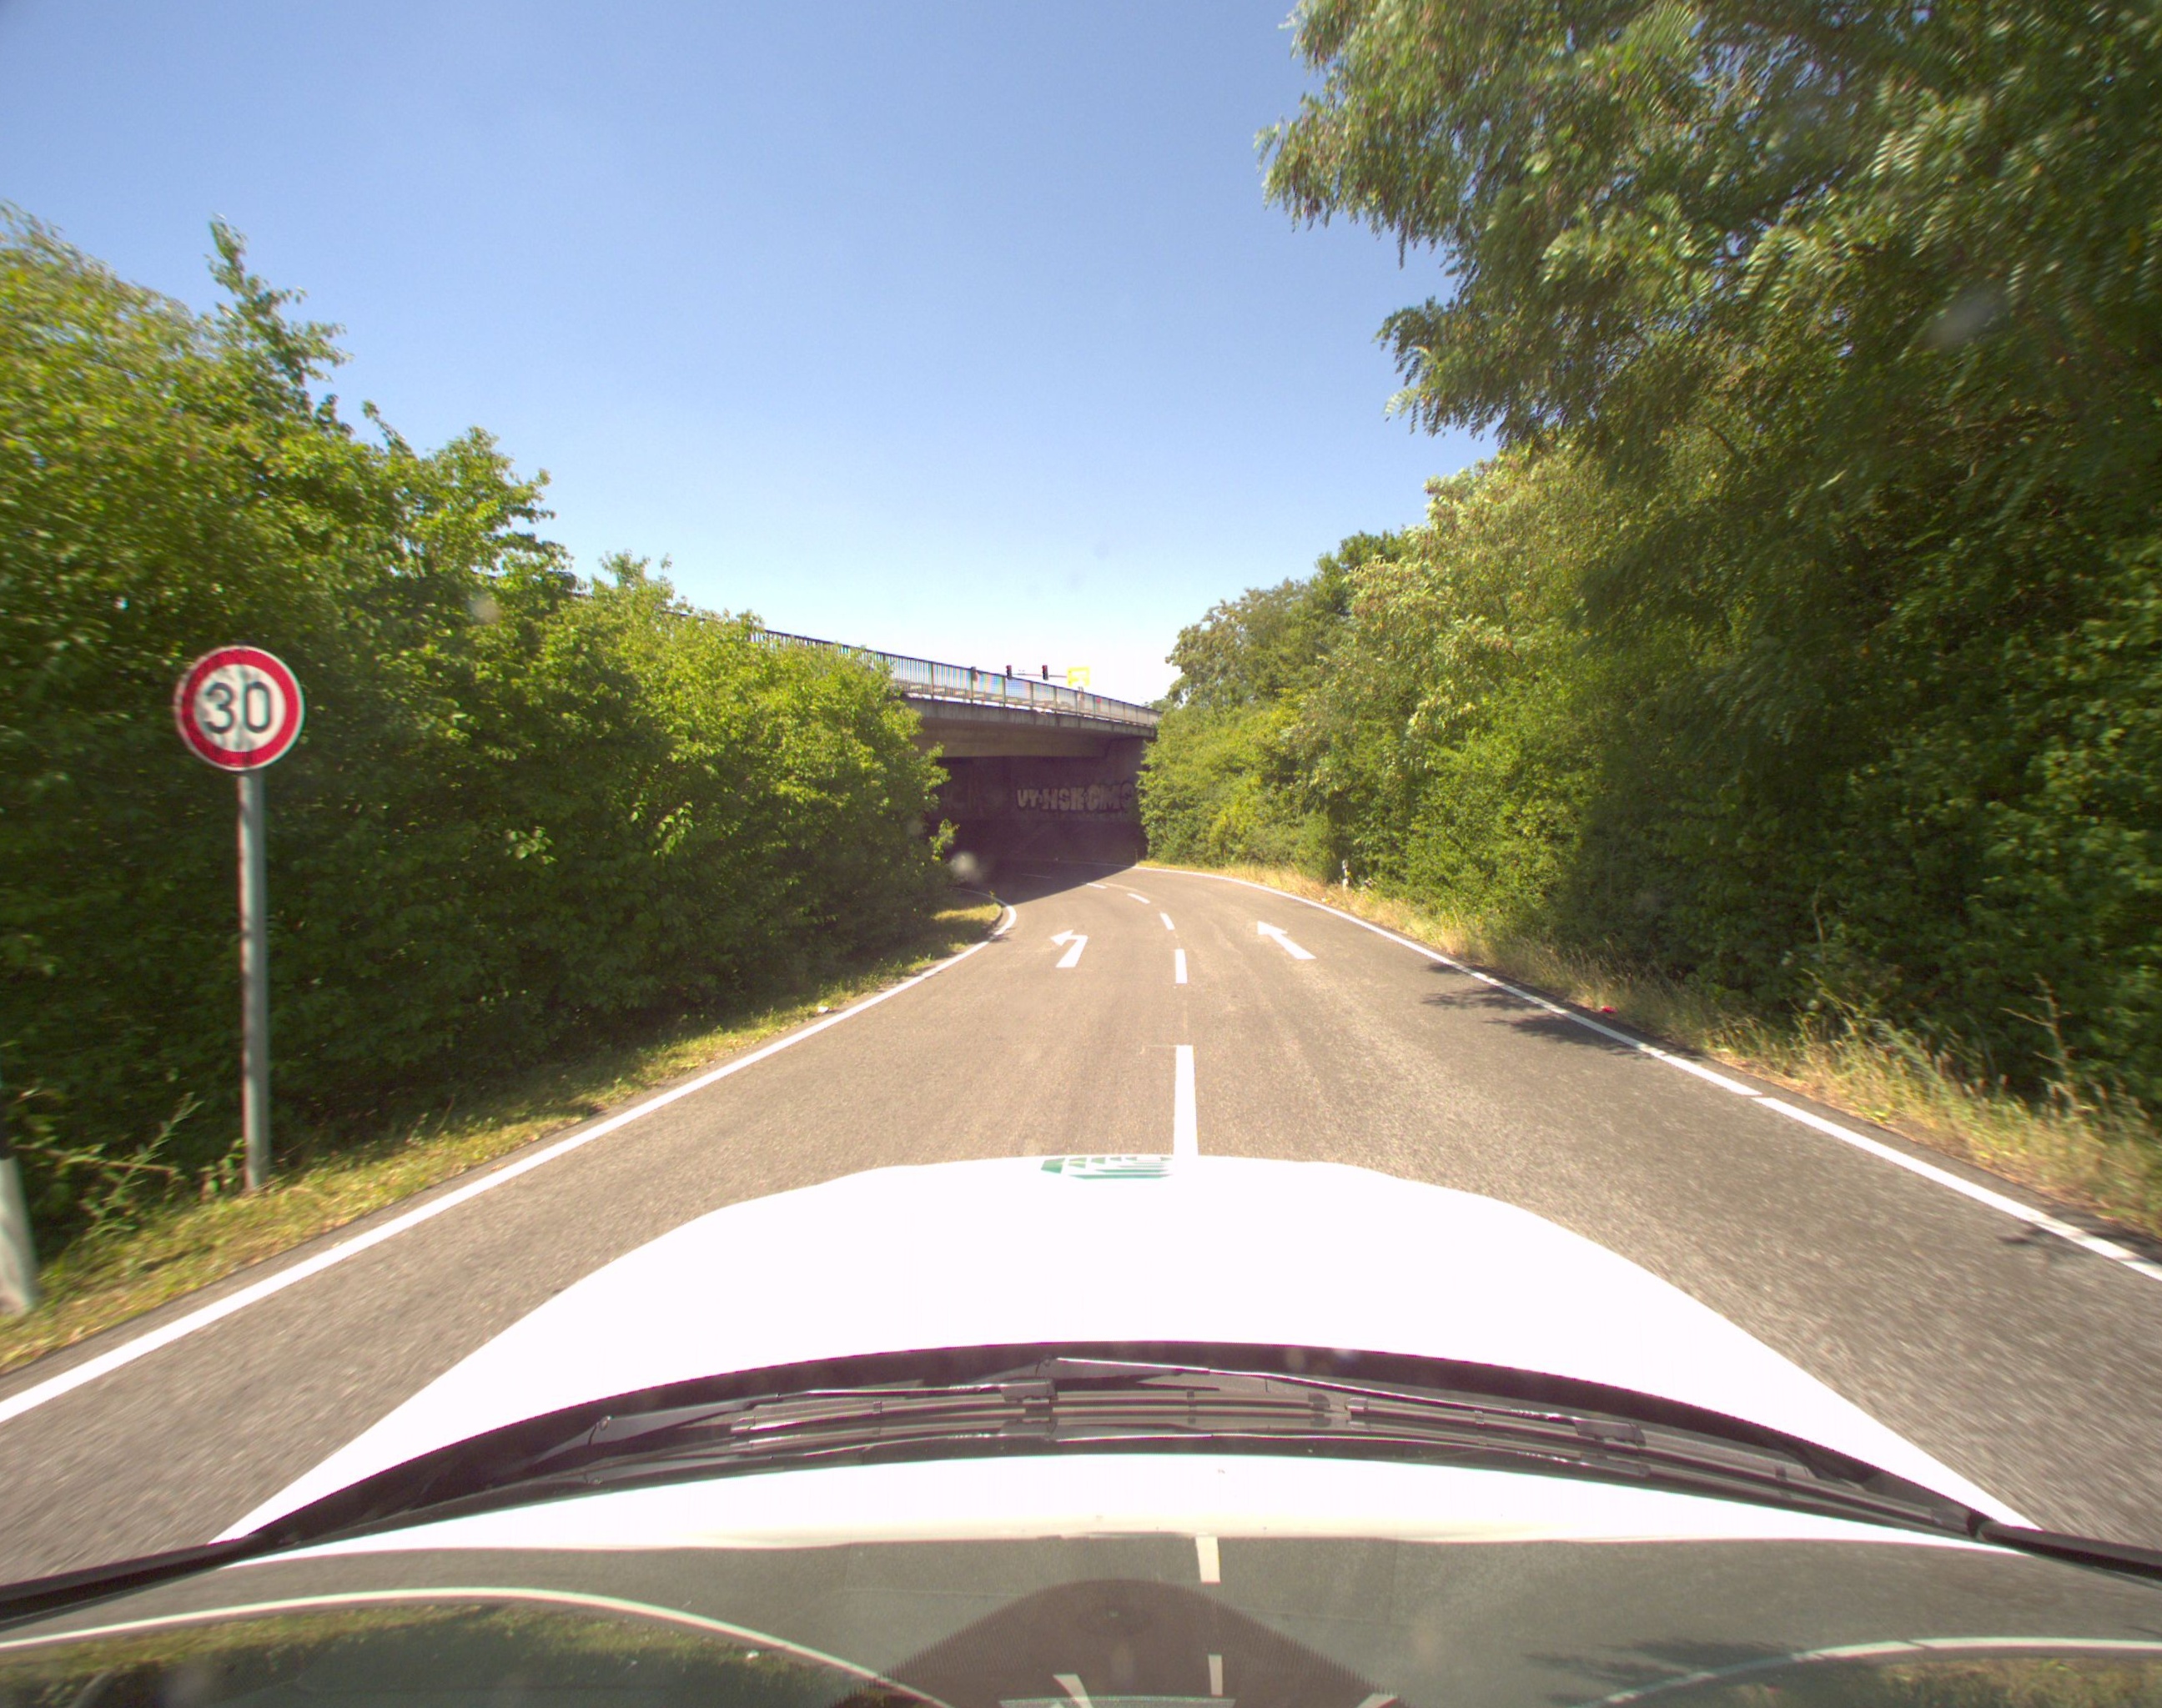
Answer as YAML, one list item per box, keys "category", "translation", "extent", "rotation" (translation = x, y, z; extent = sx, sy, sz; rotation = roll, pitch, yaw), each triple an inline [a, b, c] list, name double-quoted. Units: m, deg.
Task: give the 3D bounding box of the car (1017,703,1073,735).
- category: "car"
  translation: [-1.742, -6.652, 40.381]
  extent: [1.598, 1.189, 3.497]
  rotation: [0, 4, 19]
